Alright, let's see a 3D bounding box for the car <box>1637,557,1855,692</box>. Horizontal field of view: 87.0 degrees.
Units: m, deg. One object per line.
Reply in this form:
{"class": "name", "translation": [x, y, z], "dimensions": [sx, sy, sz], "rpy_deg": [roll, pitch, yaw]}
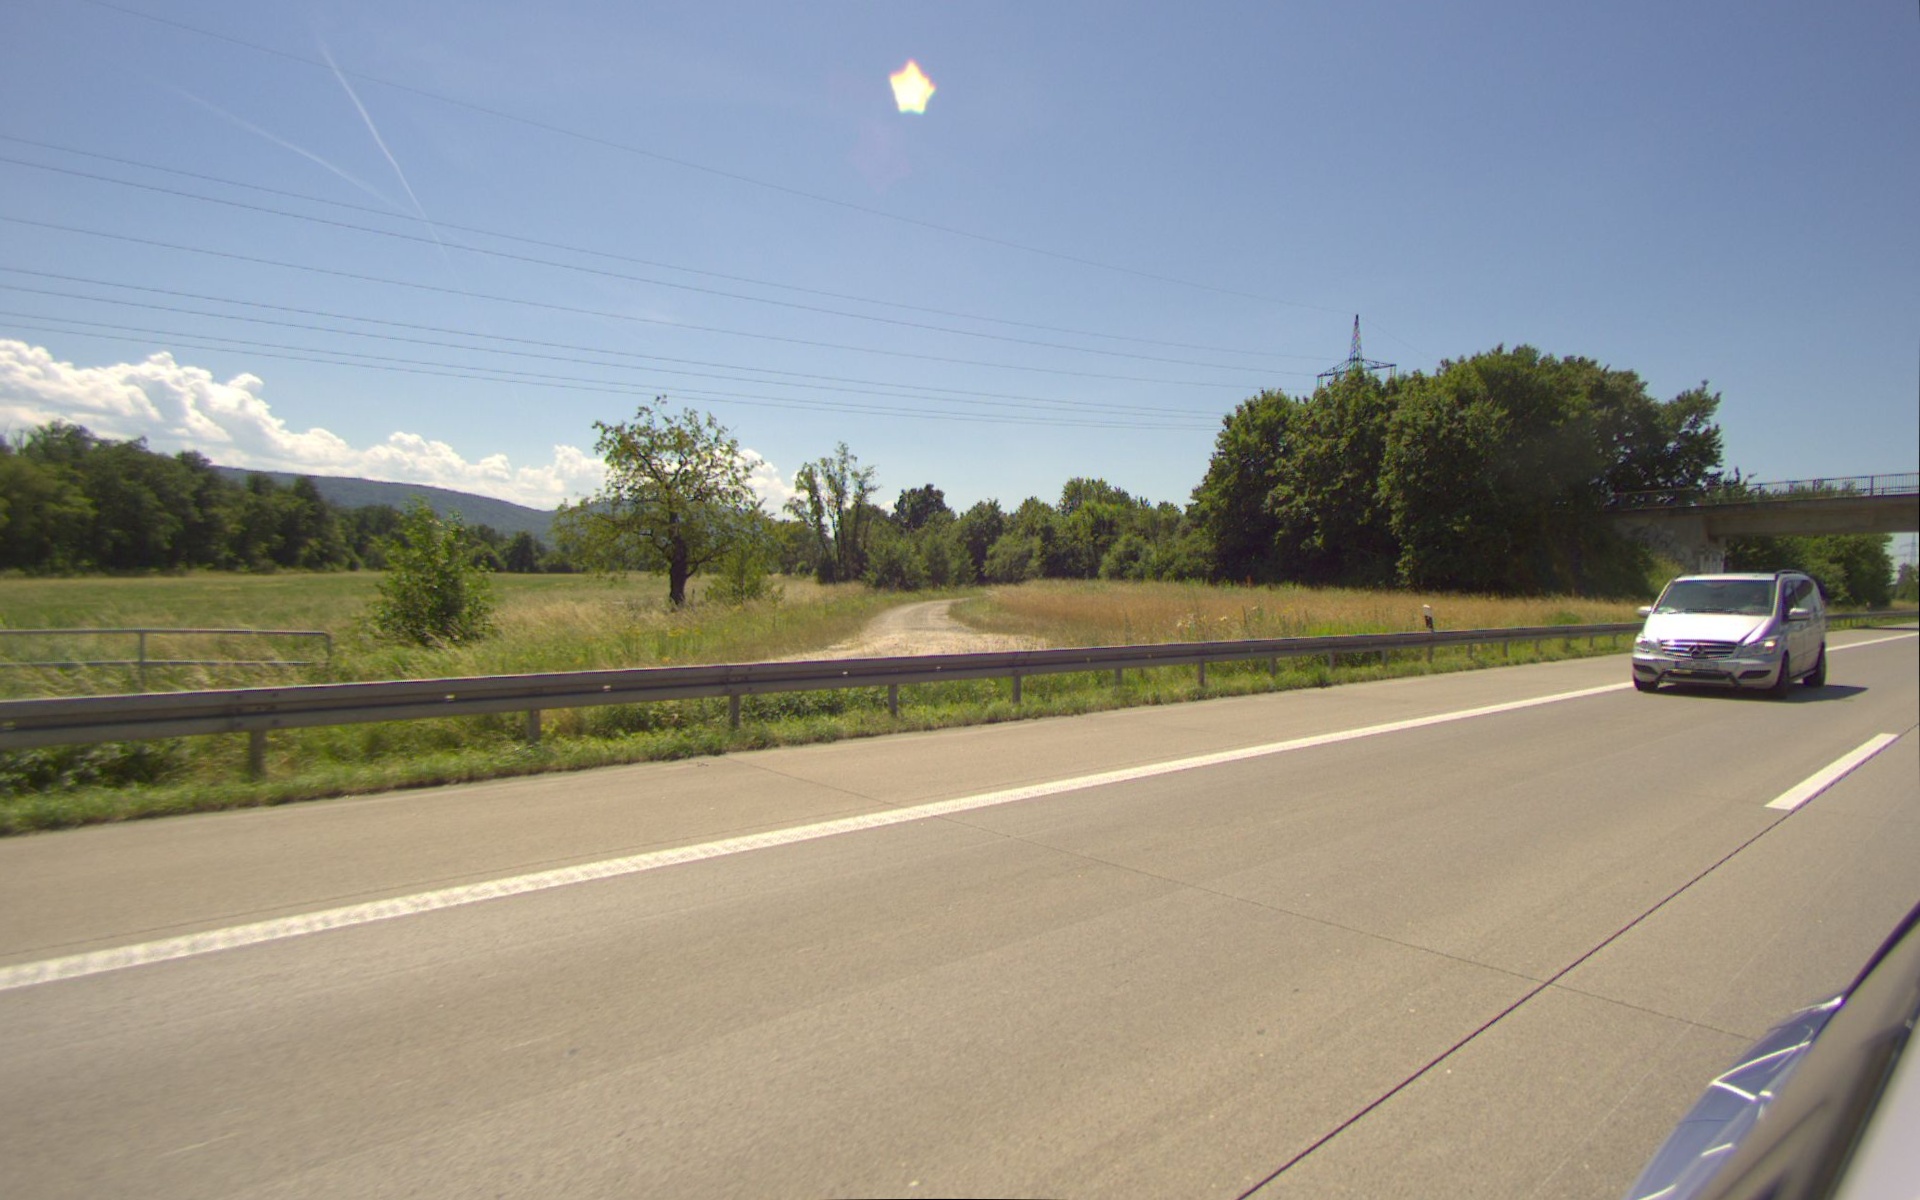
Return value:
{"class": "car", "translation": [13.112, 0.332, 16.745], "dimensions": [5.187, 1.913, 1.882], "rpy_deg": [0, 1, -41]}
